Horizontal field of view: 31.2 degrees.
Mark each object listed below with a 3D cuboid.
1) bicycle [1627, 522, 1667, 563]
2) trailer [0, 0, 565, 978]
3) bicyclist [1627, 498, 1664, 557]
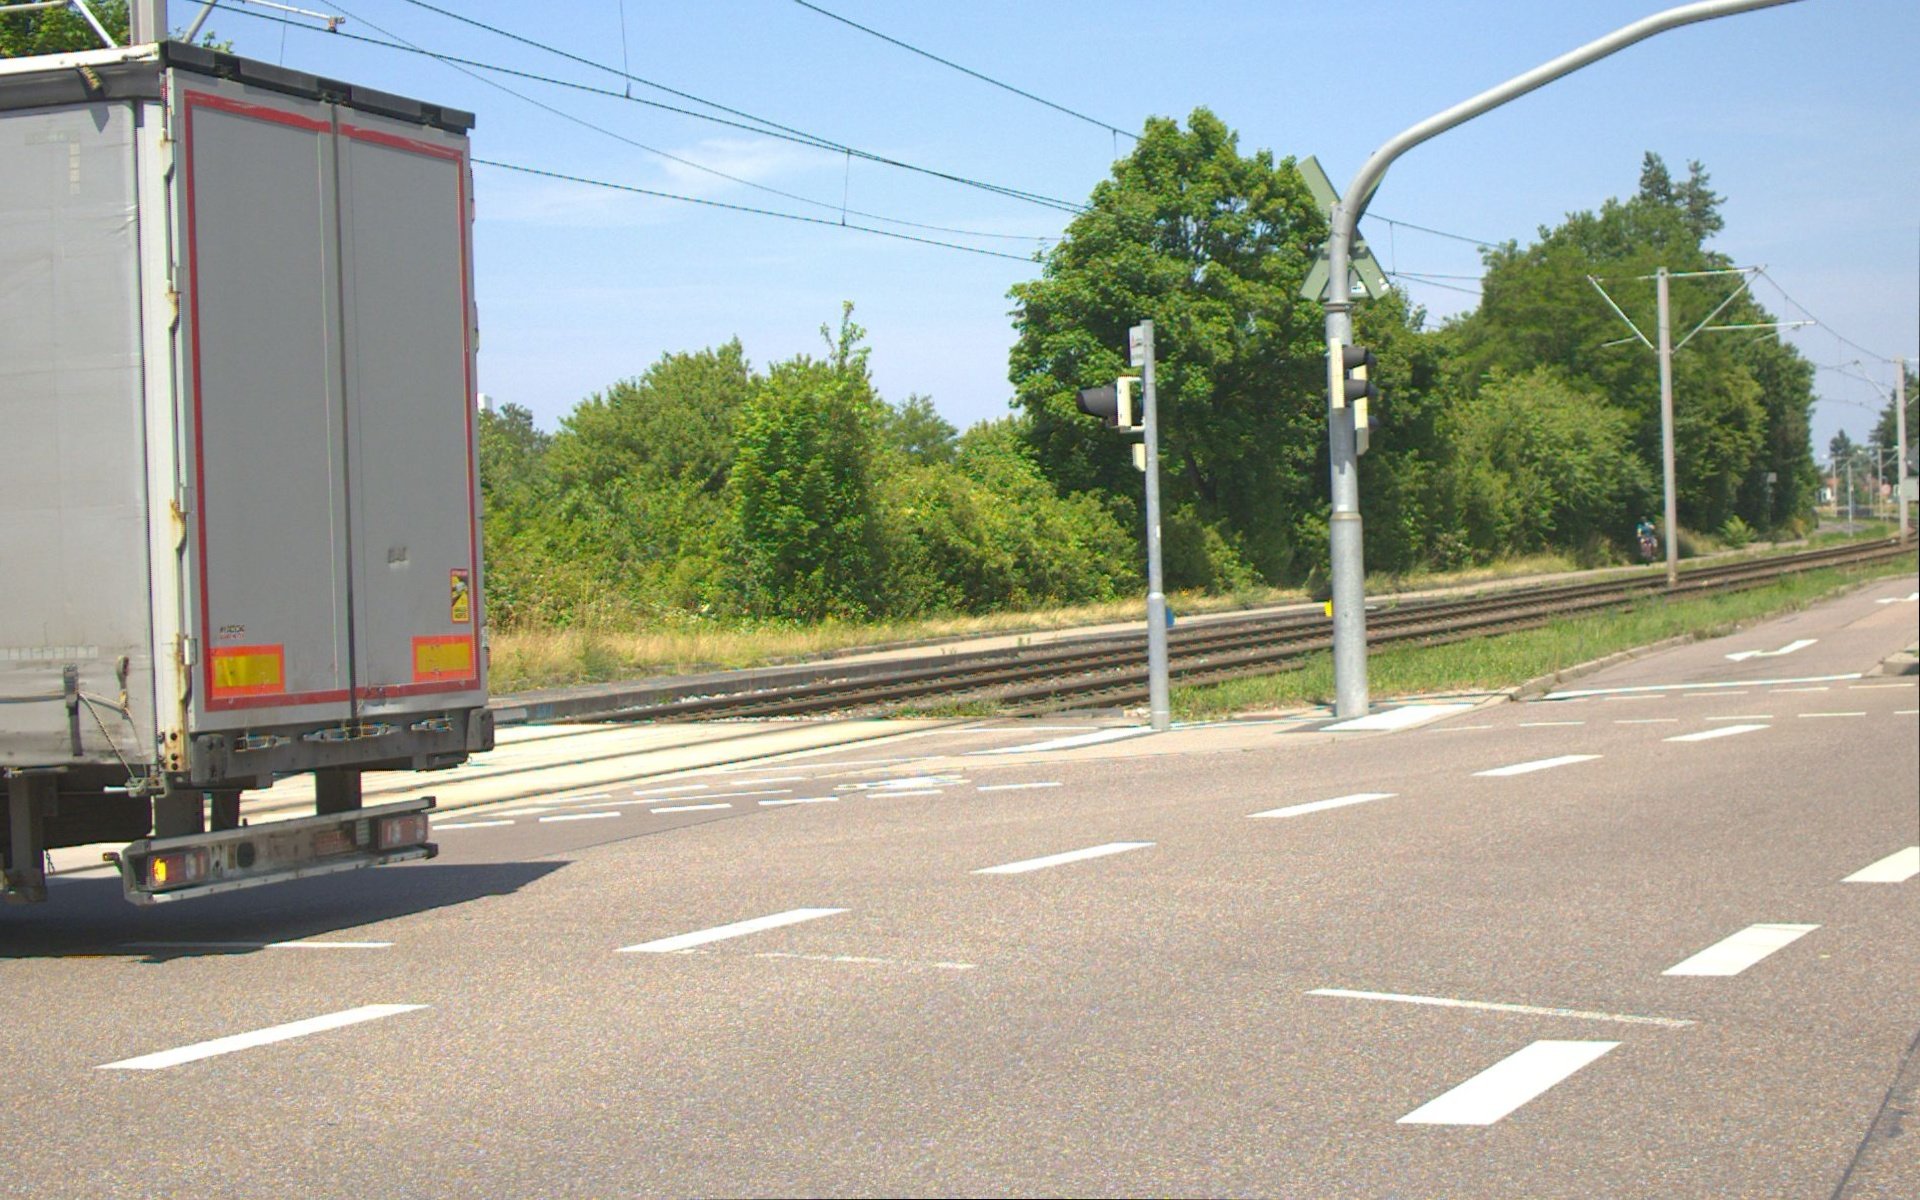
[{"bbox_3d":[24.475,-2.066,122.461,1.061,1.341,2.694,-5,0,16],"label":"bicycle"},{"bbox_3d":[-7.044,-0.474,16.322,9.786,4.055,3.084,-2,1,21],"label":"trailer"},{"bbox_3d":[24.422,-2.592,122.429,1.072,2.007,1.184,-4,0,15],"label":"bicyclist"}]
